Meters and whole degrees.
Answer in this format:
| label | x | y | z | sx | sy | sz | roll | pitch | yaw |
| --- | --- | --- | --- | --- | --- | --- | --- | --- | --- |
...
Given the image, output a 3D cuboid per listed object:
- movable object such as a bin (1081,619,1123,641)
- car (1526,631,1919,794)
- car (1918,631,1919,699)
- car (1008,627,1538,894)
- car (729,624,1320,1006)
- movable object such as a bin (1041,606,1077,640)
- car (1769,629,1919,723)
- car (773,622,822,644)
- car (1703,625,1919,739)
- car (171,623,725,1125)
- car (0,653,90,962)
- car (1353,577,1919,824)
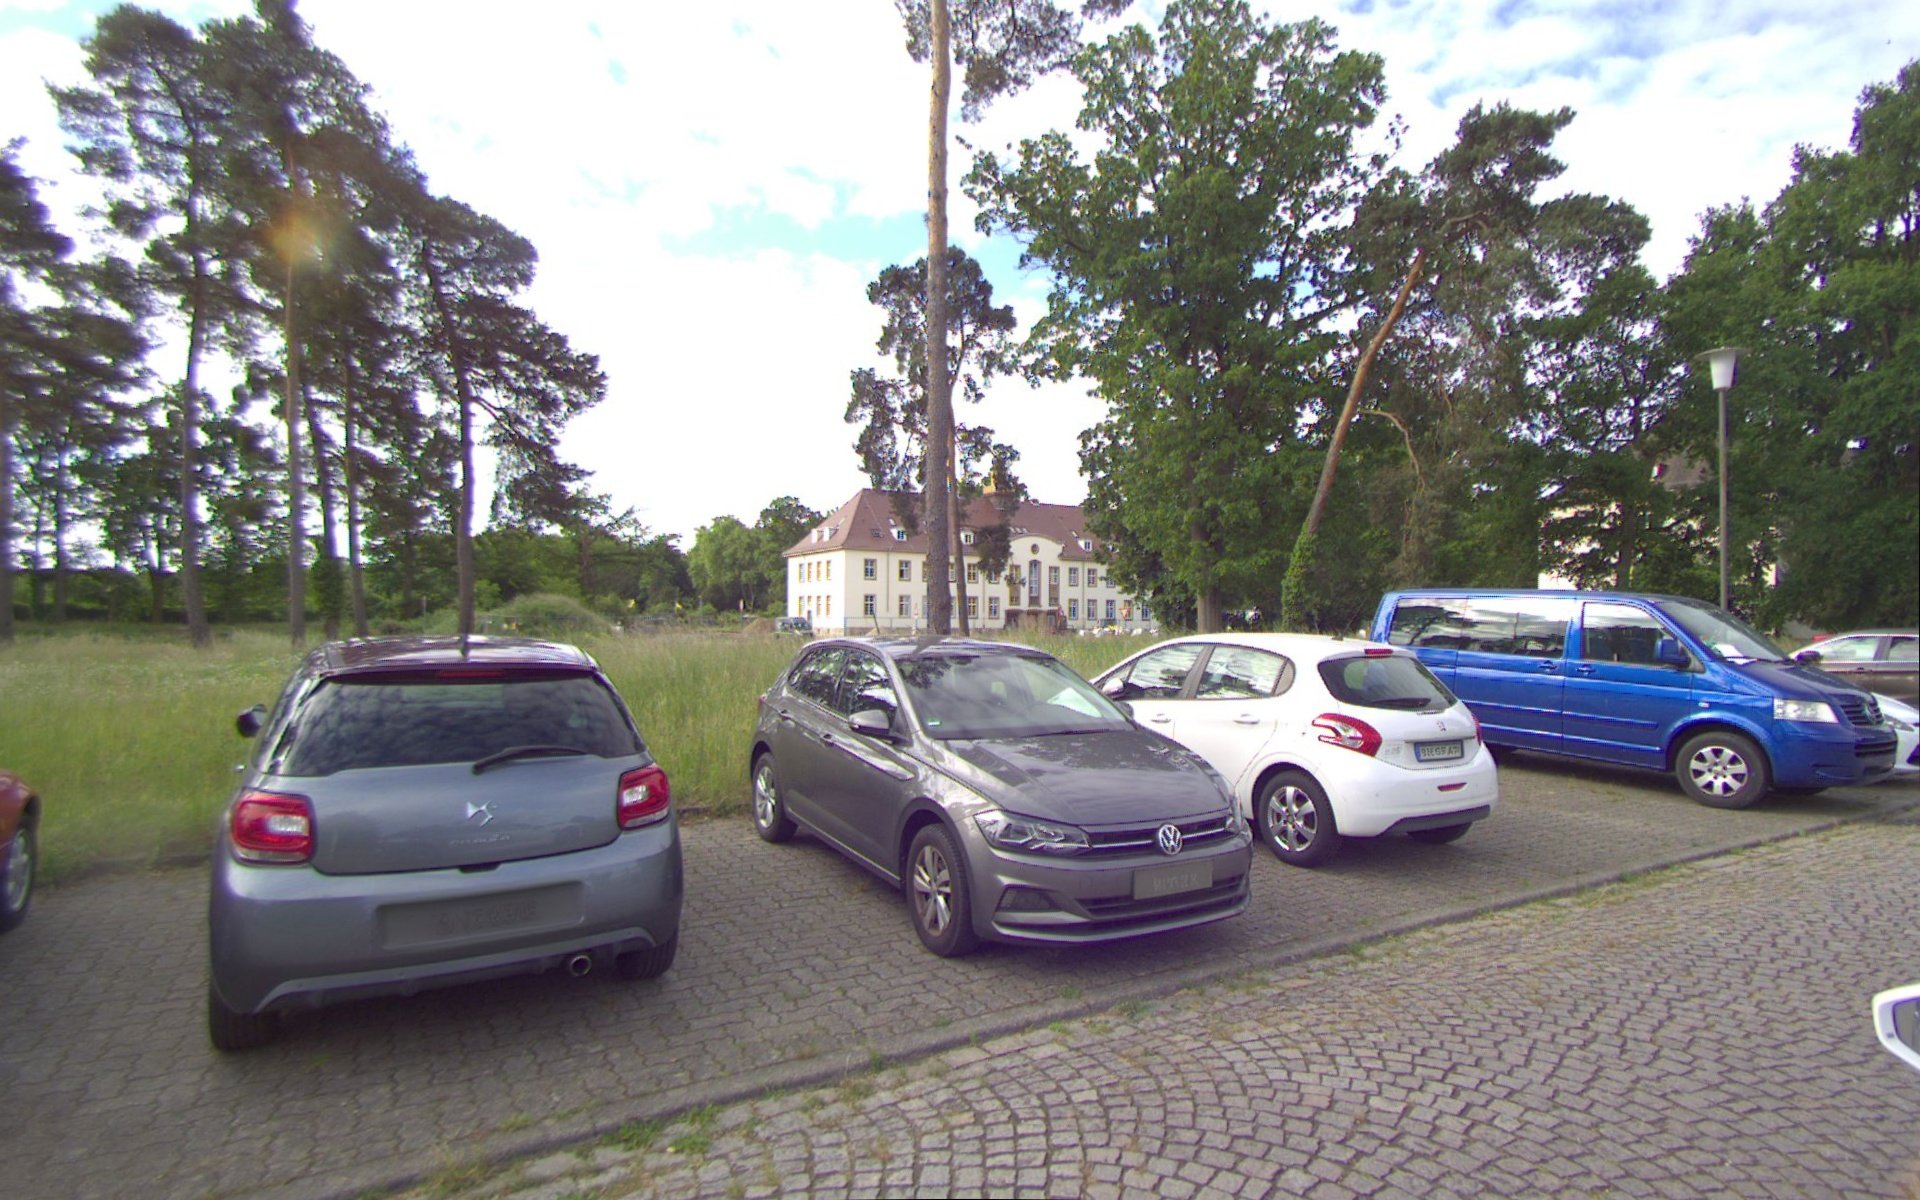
| label | x | y | z | sx | sy | sz | roll | pitch | yaw |
| --- | --- | --- | --- | --- | --- | --- | --- | --- | --- |
| movable object such as a bin | 15.293 | 3.284 | 108.668 | 2.349 | 2.283 | 4.493 | 3 | -2 | -26 |
| car | 9.063 | 1.166 | 11.907 | 1.708 | 1.513 | 3.771 | 1 | -1 | -33 |
| car | 22.793 | 1.422 | 20.939 | 1.768 | 1.509 | 3.795 | 1 | -1 | -32 |
| car | 2.216 | 1.016 | 8.189 | 1.820 | 1.521 | 3.987 | 1 | -1 | -29 |
| car | -0.010 | 0.929 | 6.390 | 1.710 | 1.500 | 4.285 | 1 | -1 | -29 |
| movable object such as a bin | 11.097 | 2.634 | 112.920 | 2.105 | 3.689 | 6.120 | 2 | -2 | -14 |
| car | 16.422 | 1.282 | 17.096 | 1.741 | 1.506 | 3.796 | 1 | -1 | -31 |
| car | -16.549 | 3.371 | 102.166 | 2.351 | 2.143 | 5.758 | 3 | -3 | -40 |
| car | 14.192 | 1.211 | 15.454 | 1.933 | 1.596 | 4.046 | 1 | -1 | -32 |
| car | -2.684 | 0.896 | 5.313 | 1.734 | 1.500 | 4.069 | 1 | -1 | -30 |
| car | -4.754 | 0.932 | 3.605 | 1.743 | 1.300 | 4.110 | 1 | -1 | -31 |
| car | 6.825 | 0.845 | 10.690 | 2.015 | 2.007 | 4.685 | 1 | -1 | -31 |
